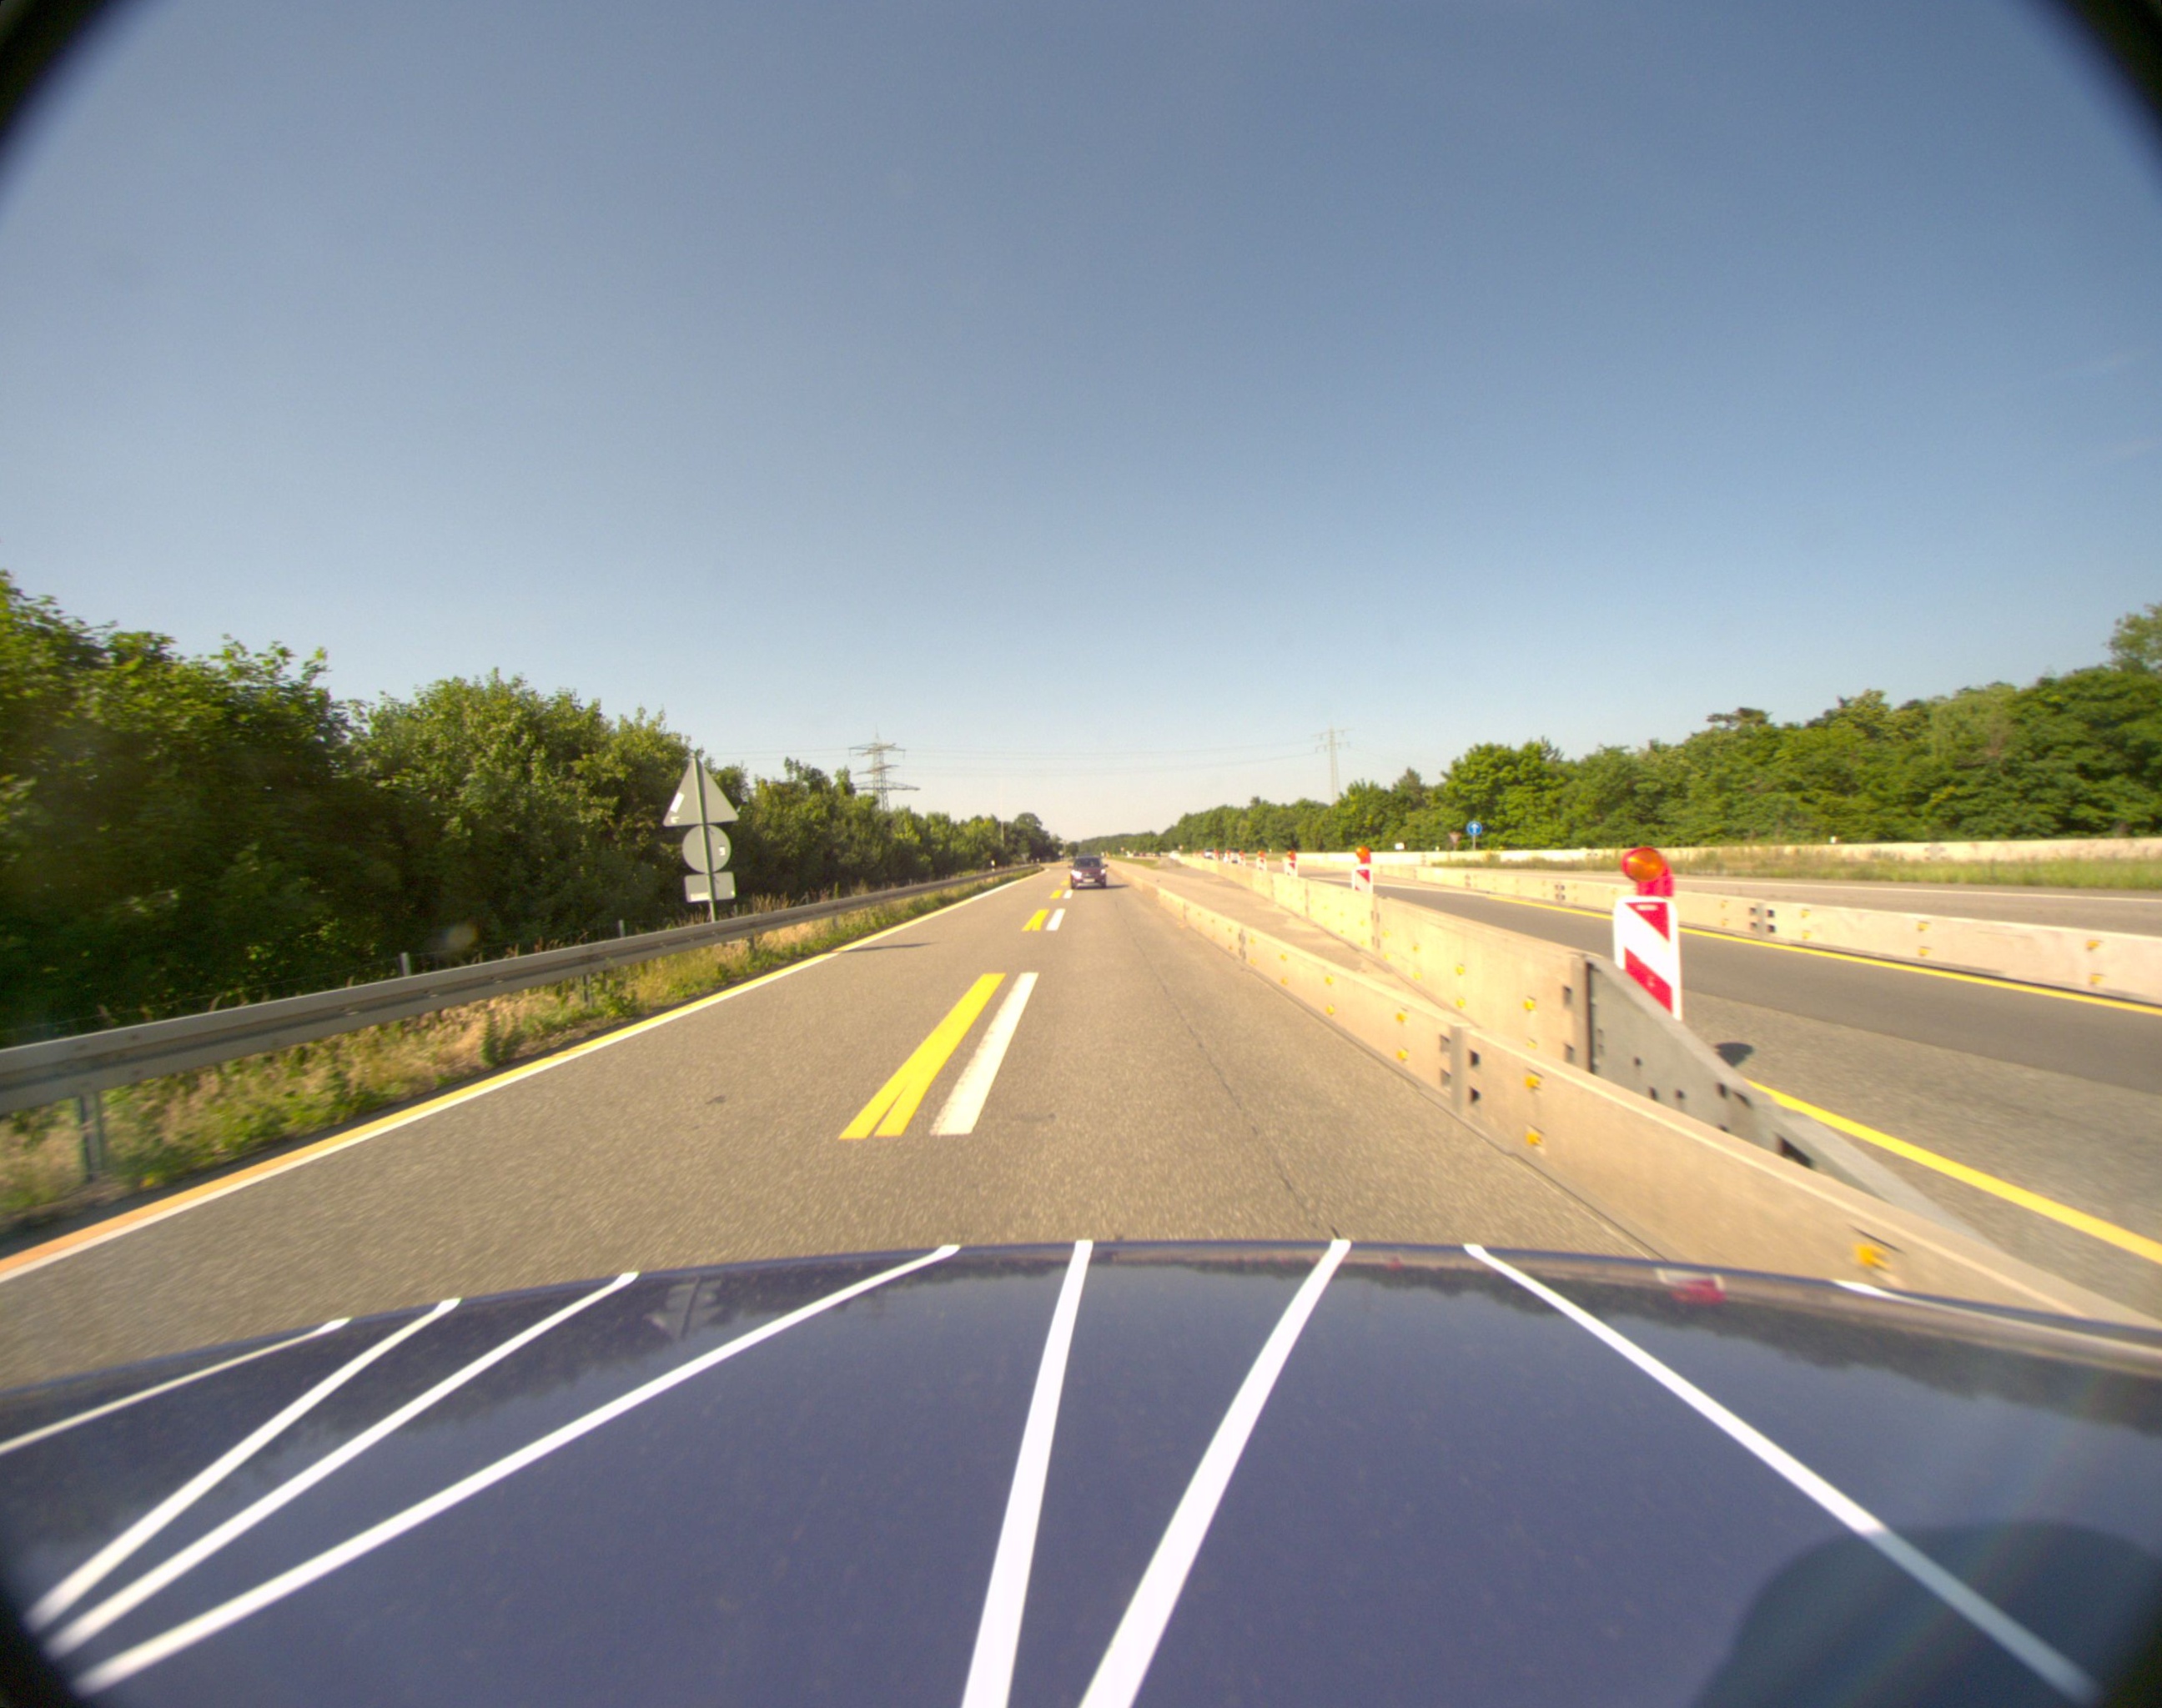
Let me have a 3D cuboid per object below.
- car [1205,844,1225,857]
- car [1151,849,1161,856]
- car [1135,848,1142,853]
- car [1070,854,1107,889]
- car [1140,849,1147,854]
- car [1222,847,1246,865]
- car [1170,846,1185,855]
[{"bbox_3d":[15.848,-0.419,90.064,1.998,1.507,4.582,-2,0,6],"label":"car"},{"bbox_3d":[16.469,-0.360,167.290,1.844,1.432,4.813,-1,0,2],"label":"car"},{"bbox_3d":[18.440,-1.030,242.476,1.820,1.479,5.023,-3,0,2],"label":"car"},{"bbox_3d":[0.408,0.760,35.624,1.587,1.491,4.416,-1,0,2],"label":"car"},{"bbox_3d":[18.723,-0.756,227.072,1.801,1.426,4.592,-2,0,1],"label":"car"},{"bbox_3d":[13.728,0.132,68.380,1.715,1.507,4.180,-2,0,6],"label":"car"},{"bbox_3d":[17.195,-0.604,135.747,1.822,1.599,4.438,-3,0,-2],"label":"car"}]
